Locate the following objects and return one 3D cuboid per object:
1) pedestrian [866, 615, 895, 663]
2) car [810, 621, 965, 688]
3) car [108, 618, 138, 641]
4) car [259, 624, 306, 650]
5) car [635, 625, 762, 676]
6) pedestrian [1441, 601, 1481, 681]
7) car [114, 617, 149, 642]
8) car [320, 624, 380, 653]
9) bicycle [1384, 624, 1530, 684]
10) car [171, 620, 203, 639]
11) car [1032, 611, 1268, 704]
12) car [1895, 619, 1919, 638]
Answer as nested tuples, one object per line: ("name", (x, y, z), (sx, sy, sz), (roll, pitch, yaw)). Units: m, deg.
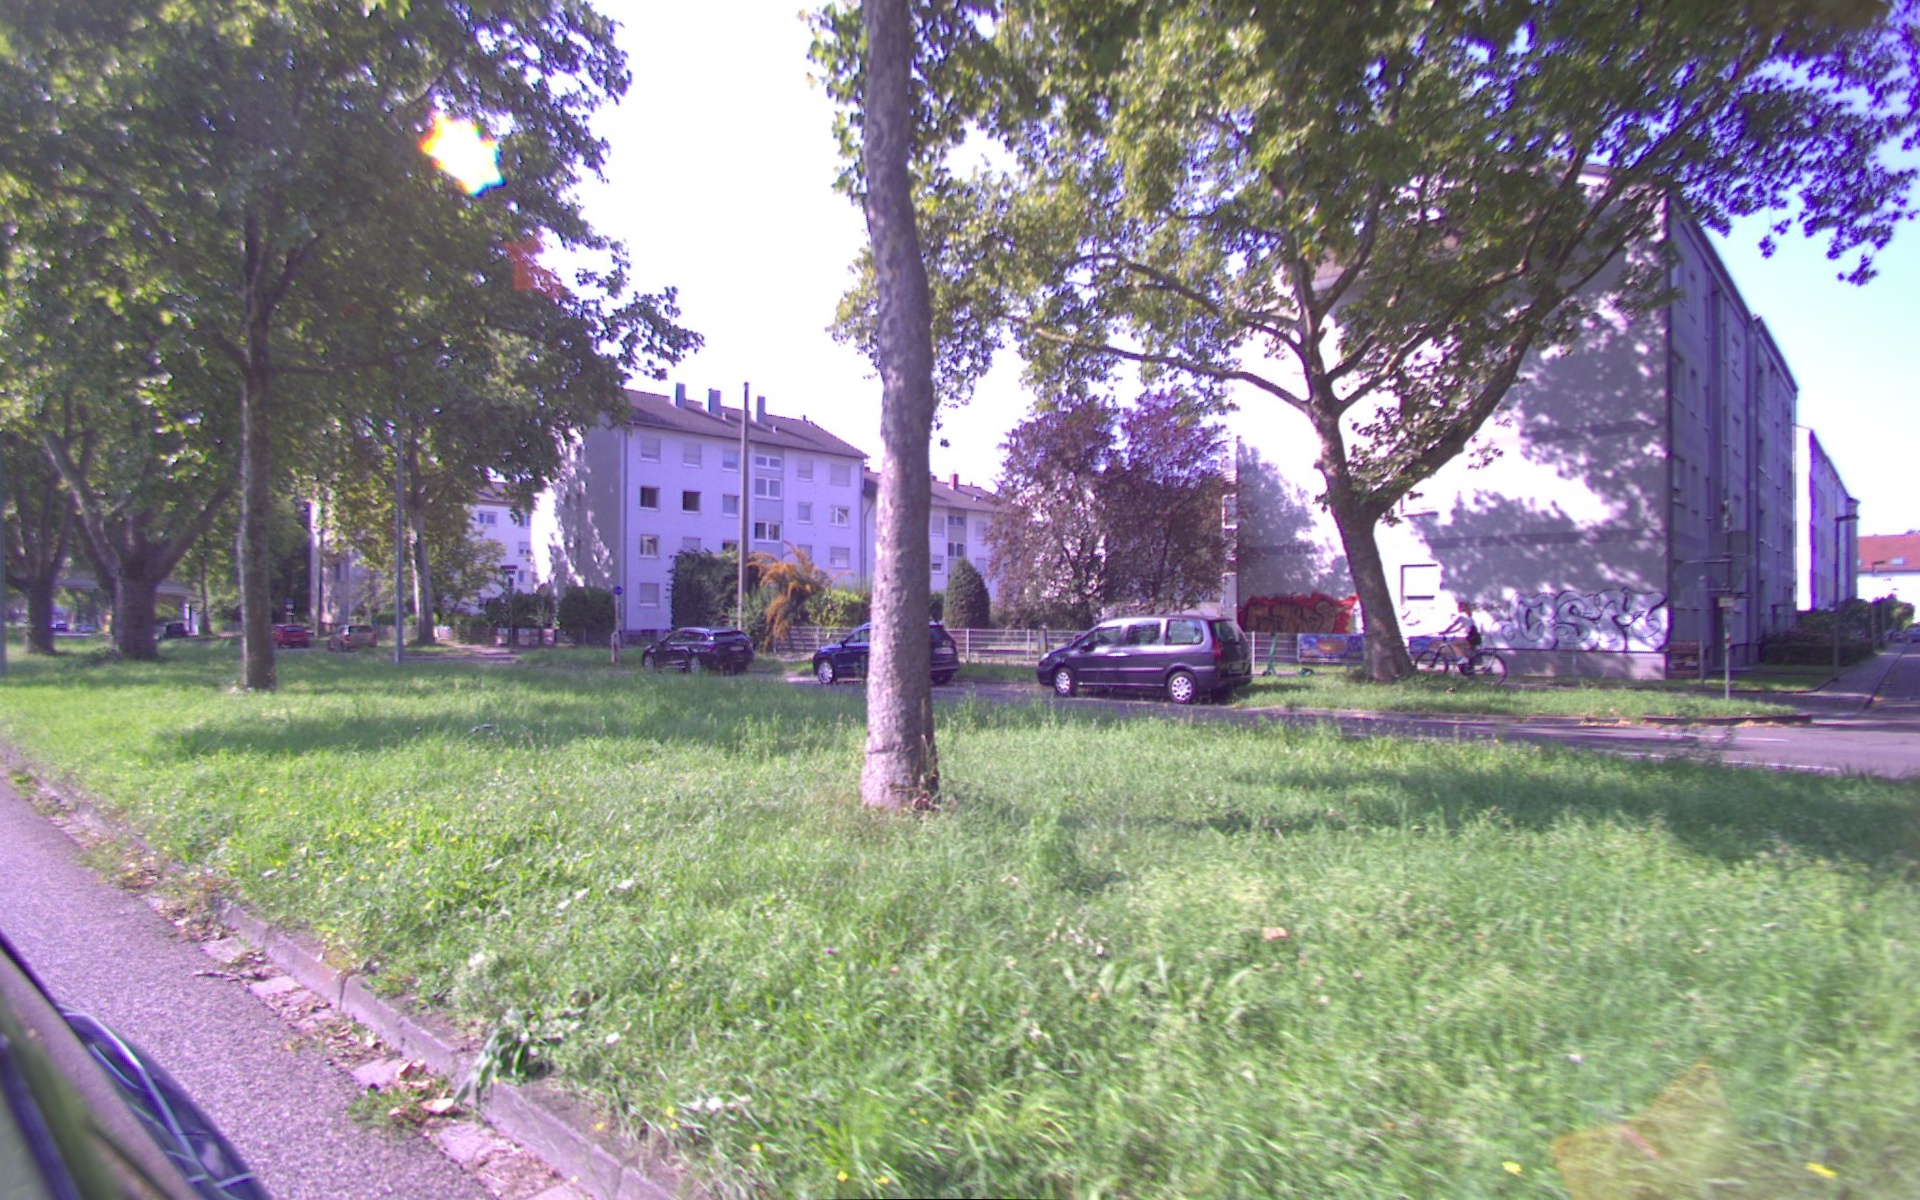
("pedestrian", (-2.743, 1.332, 34.900), (0.734, 1.658, 0.640), (-1, -1, 40))
("car", (-1.910, 1.335, 25.889), (3.999, 1.580, 1.681), (-1, -2, 42))
("car", (-91.838, 3.196, 111.010), (2.181, 2.498, 6.066), (1, -1, -43))
("car", (-41.401, 2.238, 61.793), (4.065, 1.462, 1.521), (-1, -1, 43))
("car", (-8.330, 1.556, 32.063), (4.539, 1.519, 1.681), (-2, -2, 42))
("pedestrian", (10.773, 0.869, 21.753), (0.657, 1.703, 0.537), (-1, -1, 38))
("car", (-86.128, 3.060, 105.184), (6.268, 2.448, 2.183), (-1, 1, 45))
("car", (-32.573, 2.028, 54.003), (4.064, 1.441, 1.782), (-2, -2, 43))
("bicycle", (10.674, 1.134, 21.834), (2.757, 1.208, 0.539), (-1, -1, 38))
("car", (-66.696, 2.544, 87.262), (3.863, 1.544, 1.506), (-1, -2, 43))
("car", (3.859, 1.112, 21.136), (4.658, 1.745, 1.681), (-1, -1, 42))
("car", (93.171, 2.722, 97.788), (3.998, 1.785, 1.777), (-1, -1, 41))
